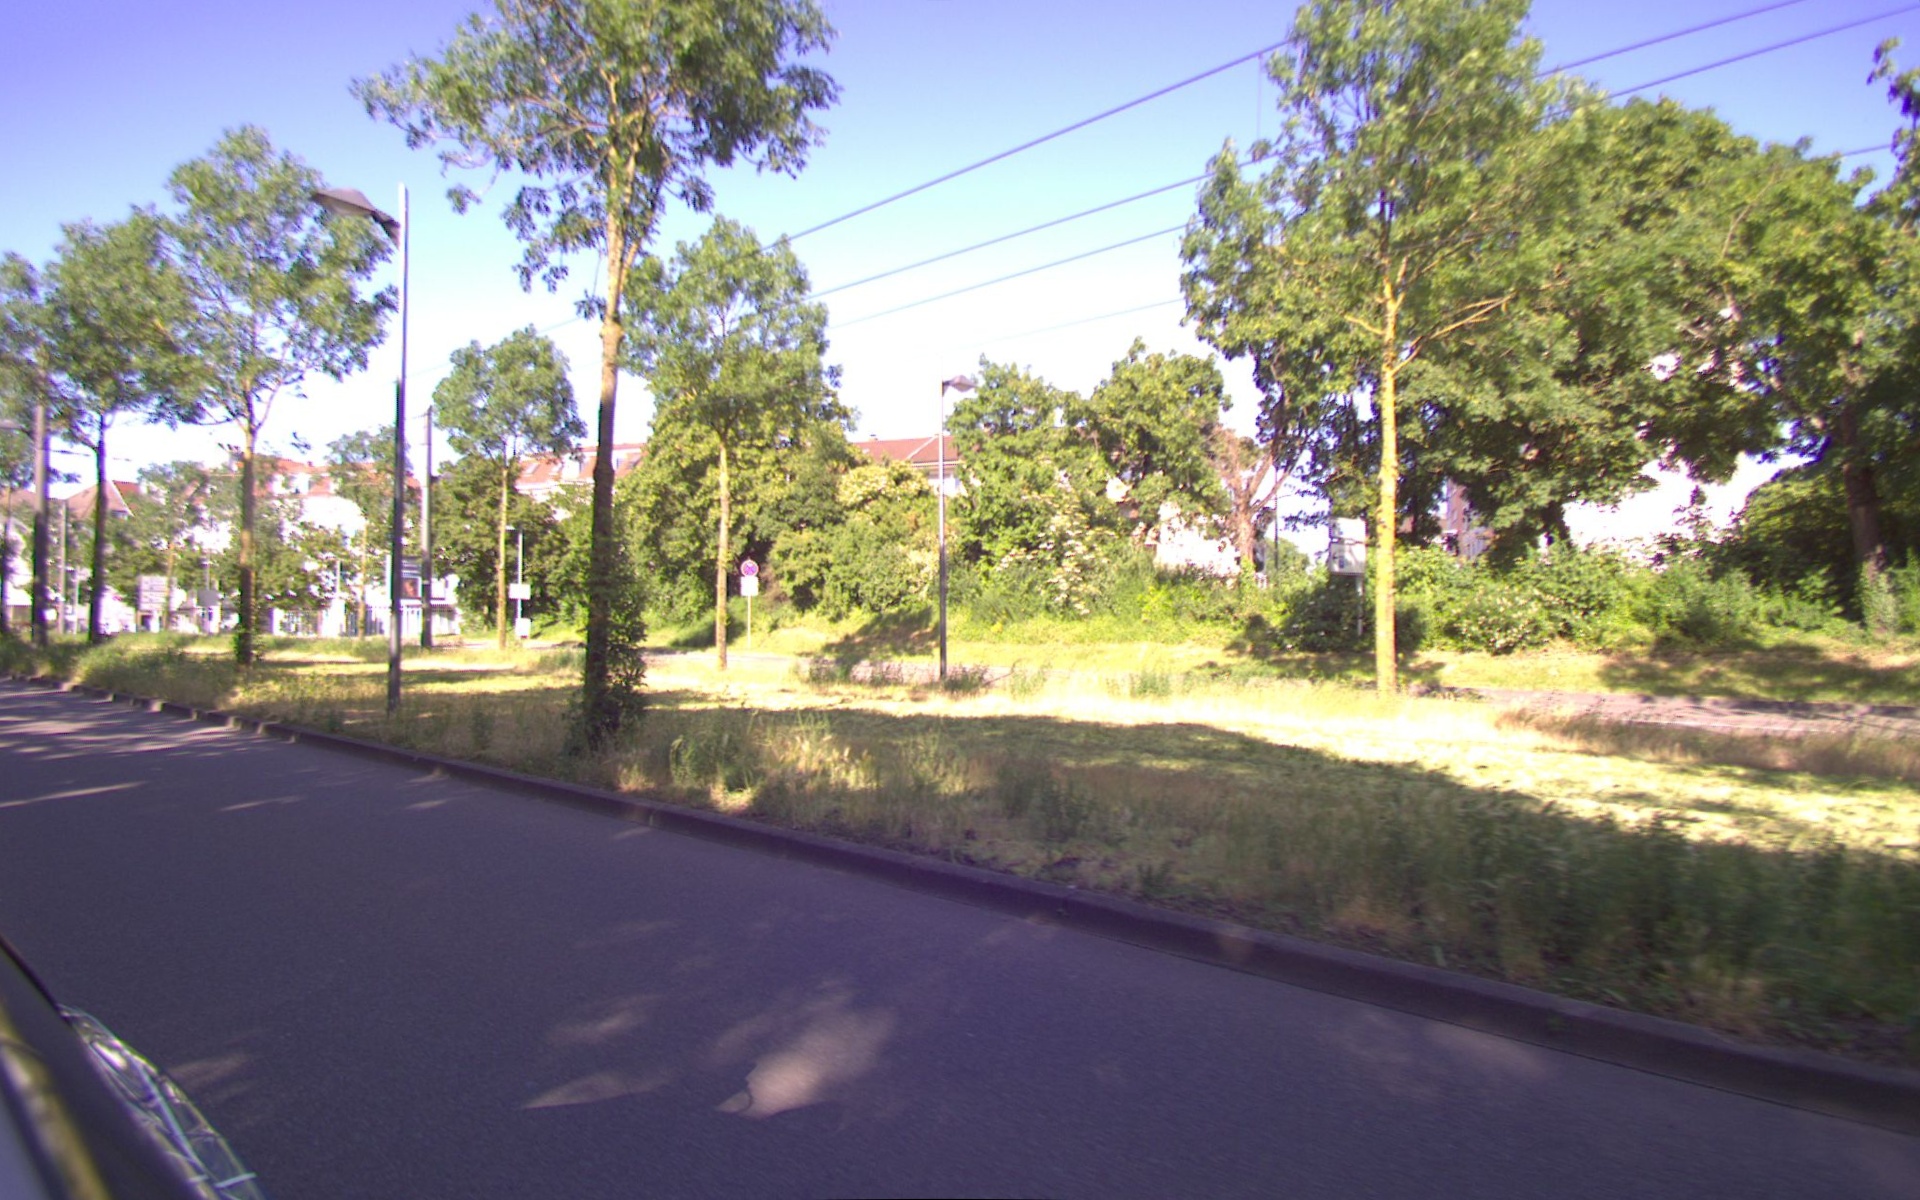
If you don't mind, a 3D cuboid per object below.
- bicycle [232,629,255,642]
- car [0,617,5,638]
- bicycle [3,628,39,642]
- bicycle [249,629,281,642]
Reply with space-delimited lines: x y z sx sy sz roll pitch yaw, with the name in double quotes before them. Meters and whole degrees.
"bicycle" -69.782 3.444 98.535 2.539 1.222 0.713 -1 -2 27
"car" -78.188 2.295 80.529 4.467 1.653 1.808 -4 -3 27
"bicycle" -92.533 3.434 99.771 0.659 1.319 2.558 -1 -2 25
"bicycle" -67.723 3.465 98.675 0.716 1.222 2.530 -1 -2 26
